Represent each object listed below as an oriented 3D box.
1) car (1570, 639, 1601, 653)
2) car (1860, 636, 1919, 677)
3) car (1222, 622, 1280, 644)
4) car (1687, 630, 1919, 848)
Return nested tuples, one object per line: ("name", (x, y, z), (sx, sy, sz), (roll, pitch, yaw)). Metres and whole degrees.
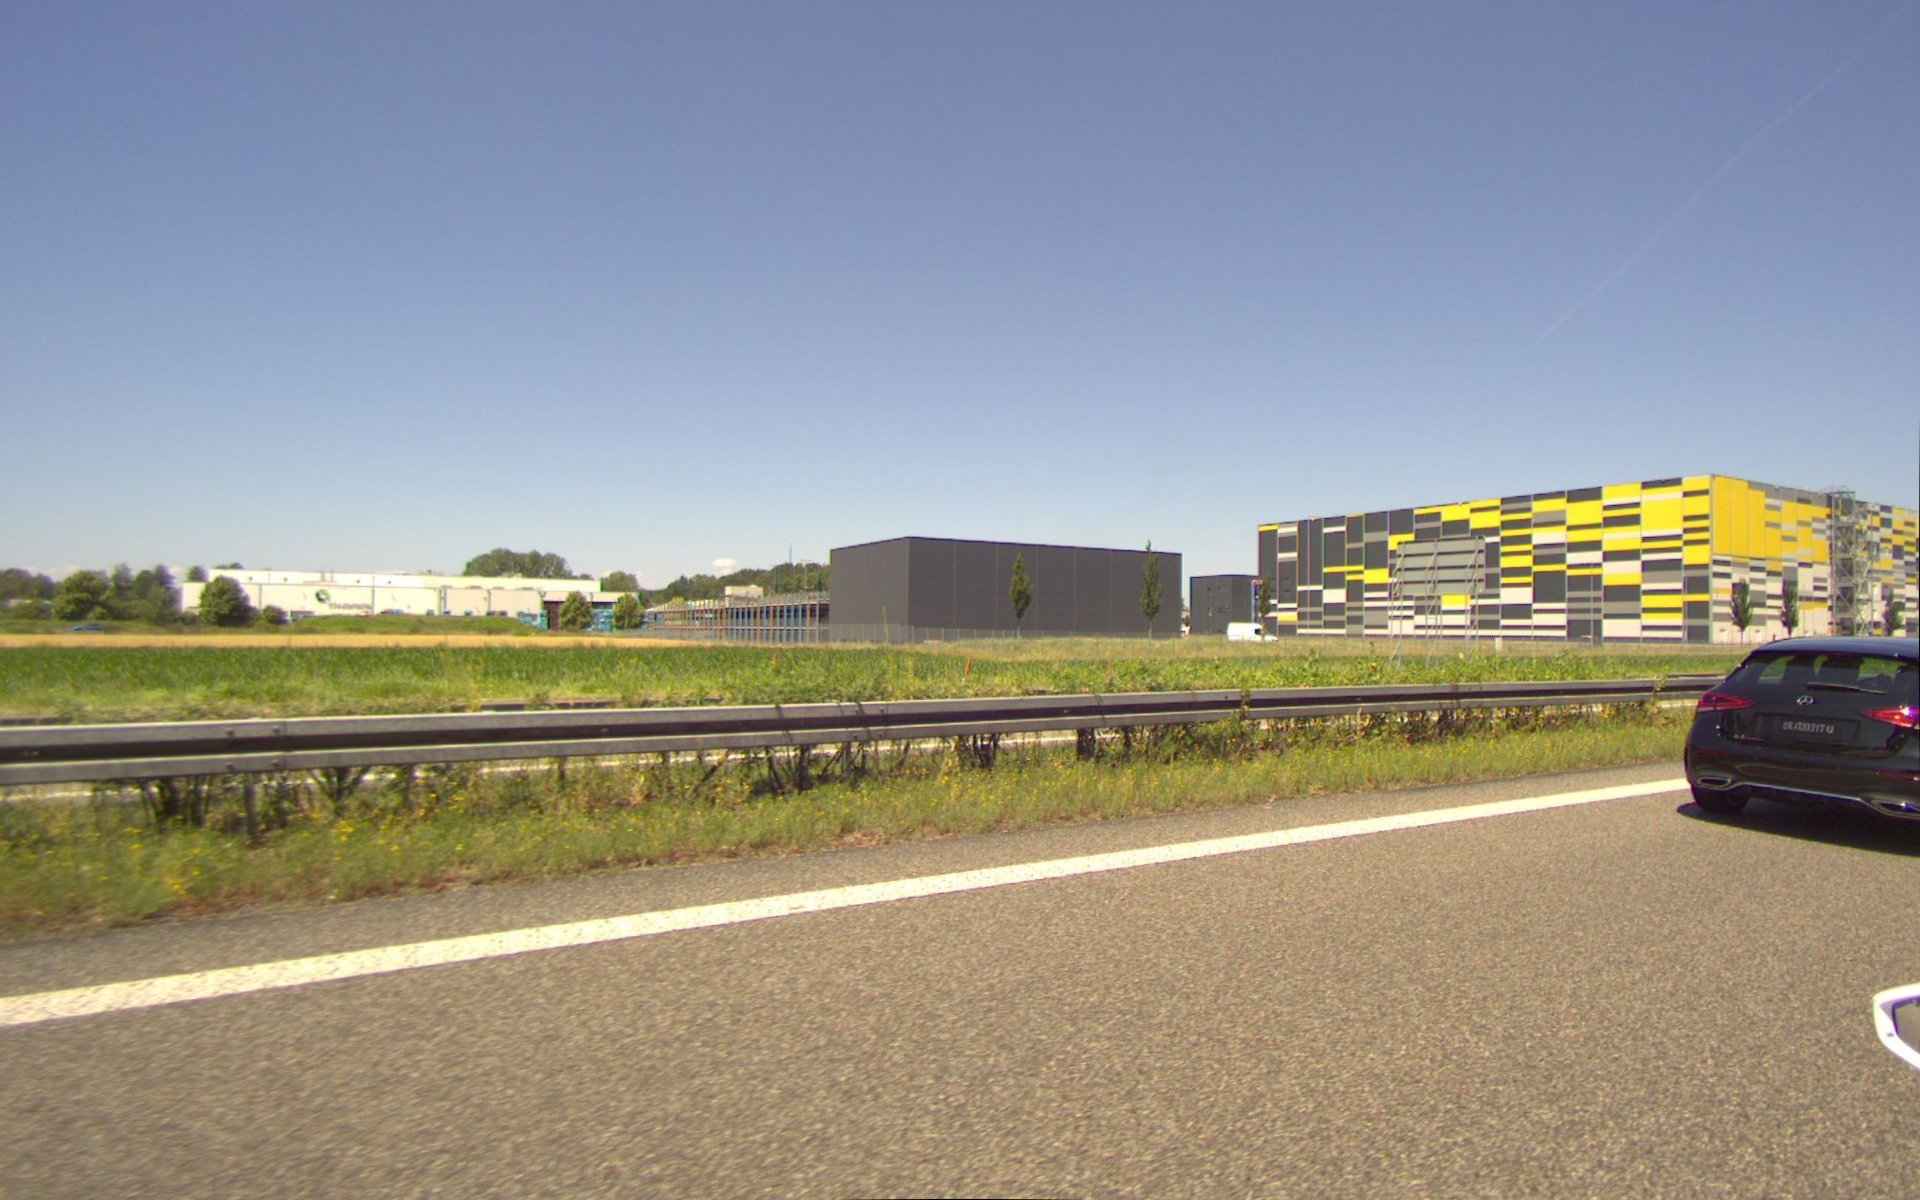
("car", (78.235, 5.757, 125.538), (4.067, 1.750, 1.675), (2, -2, -32))
("car", (41.607, 2.429, 43.734), (5.597, 1.661, 1.984), (2, -2, -30))
("car", (30.064, 3.440, 103.776), (5.506, 2.206, 2.106), (0, -2, 28))
("car", (8.005, 1.018, 8.314), (4.006, 1.430, 1.783), (2, 0, -31))
